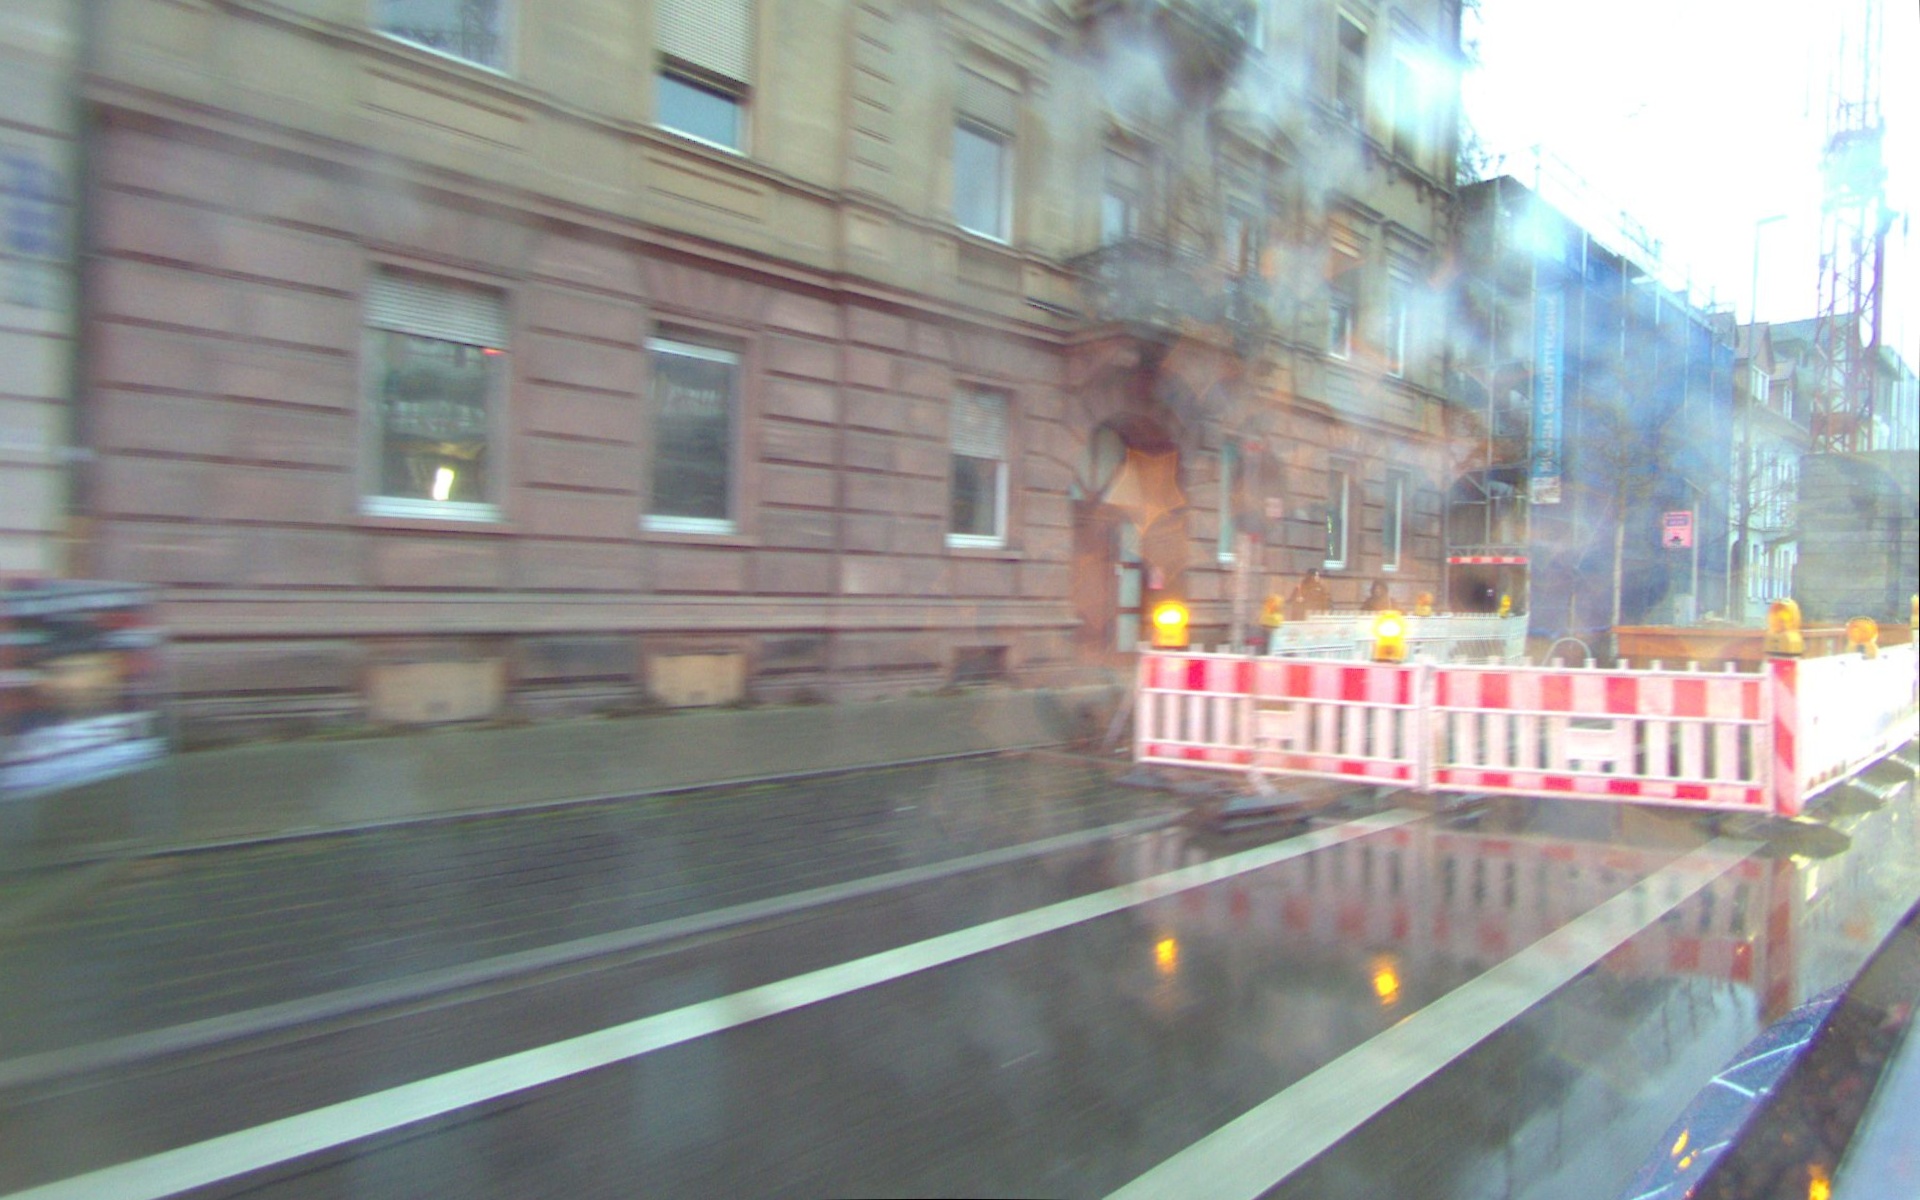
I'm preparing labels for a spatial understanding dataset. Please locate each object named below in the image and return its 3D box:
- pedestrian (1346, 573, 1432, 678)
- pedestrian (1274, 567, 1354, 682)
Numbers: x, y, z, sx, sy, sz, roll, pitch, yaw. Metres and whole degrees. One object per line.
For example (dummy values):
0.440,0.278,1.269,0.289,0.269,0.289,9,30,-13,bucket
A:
6.706,0.380,15.831,0.913,1.564,0.870,1,2,-40,pedestrian
5.415,0.351,15.506,0.694,1.693,0.870,1,2,-40,pedestrian
